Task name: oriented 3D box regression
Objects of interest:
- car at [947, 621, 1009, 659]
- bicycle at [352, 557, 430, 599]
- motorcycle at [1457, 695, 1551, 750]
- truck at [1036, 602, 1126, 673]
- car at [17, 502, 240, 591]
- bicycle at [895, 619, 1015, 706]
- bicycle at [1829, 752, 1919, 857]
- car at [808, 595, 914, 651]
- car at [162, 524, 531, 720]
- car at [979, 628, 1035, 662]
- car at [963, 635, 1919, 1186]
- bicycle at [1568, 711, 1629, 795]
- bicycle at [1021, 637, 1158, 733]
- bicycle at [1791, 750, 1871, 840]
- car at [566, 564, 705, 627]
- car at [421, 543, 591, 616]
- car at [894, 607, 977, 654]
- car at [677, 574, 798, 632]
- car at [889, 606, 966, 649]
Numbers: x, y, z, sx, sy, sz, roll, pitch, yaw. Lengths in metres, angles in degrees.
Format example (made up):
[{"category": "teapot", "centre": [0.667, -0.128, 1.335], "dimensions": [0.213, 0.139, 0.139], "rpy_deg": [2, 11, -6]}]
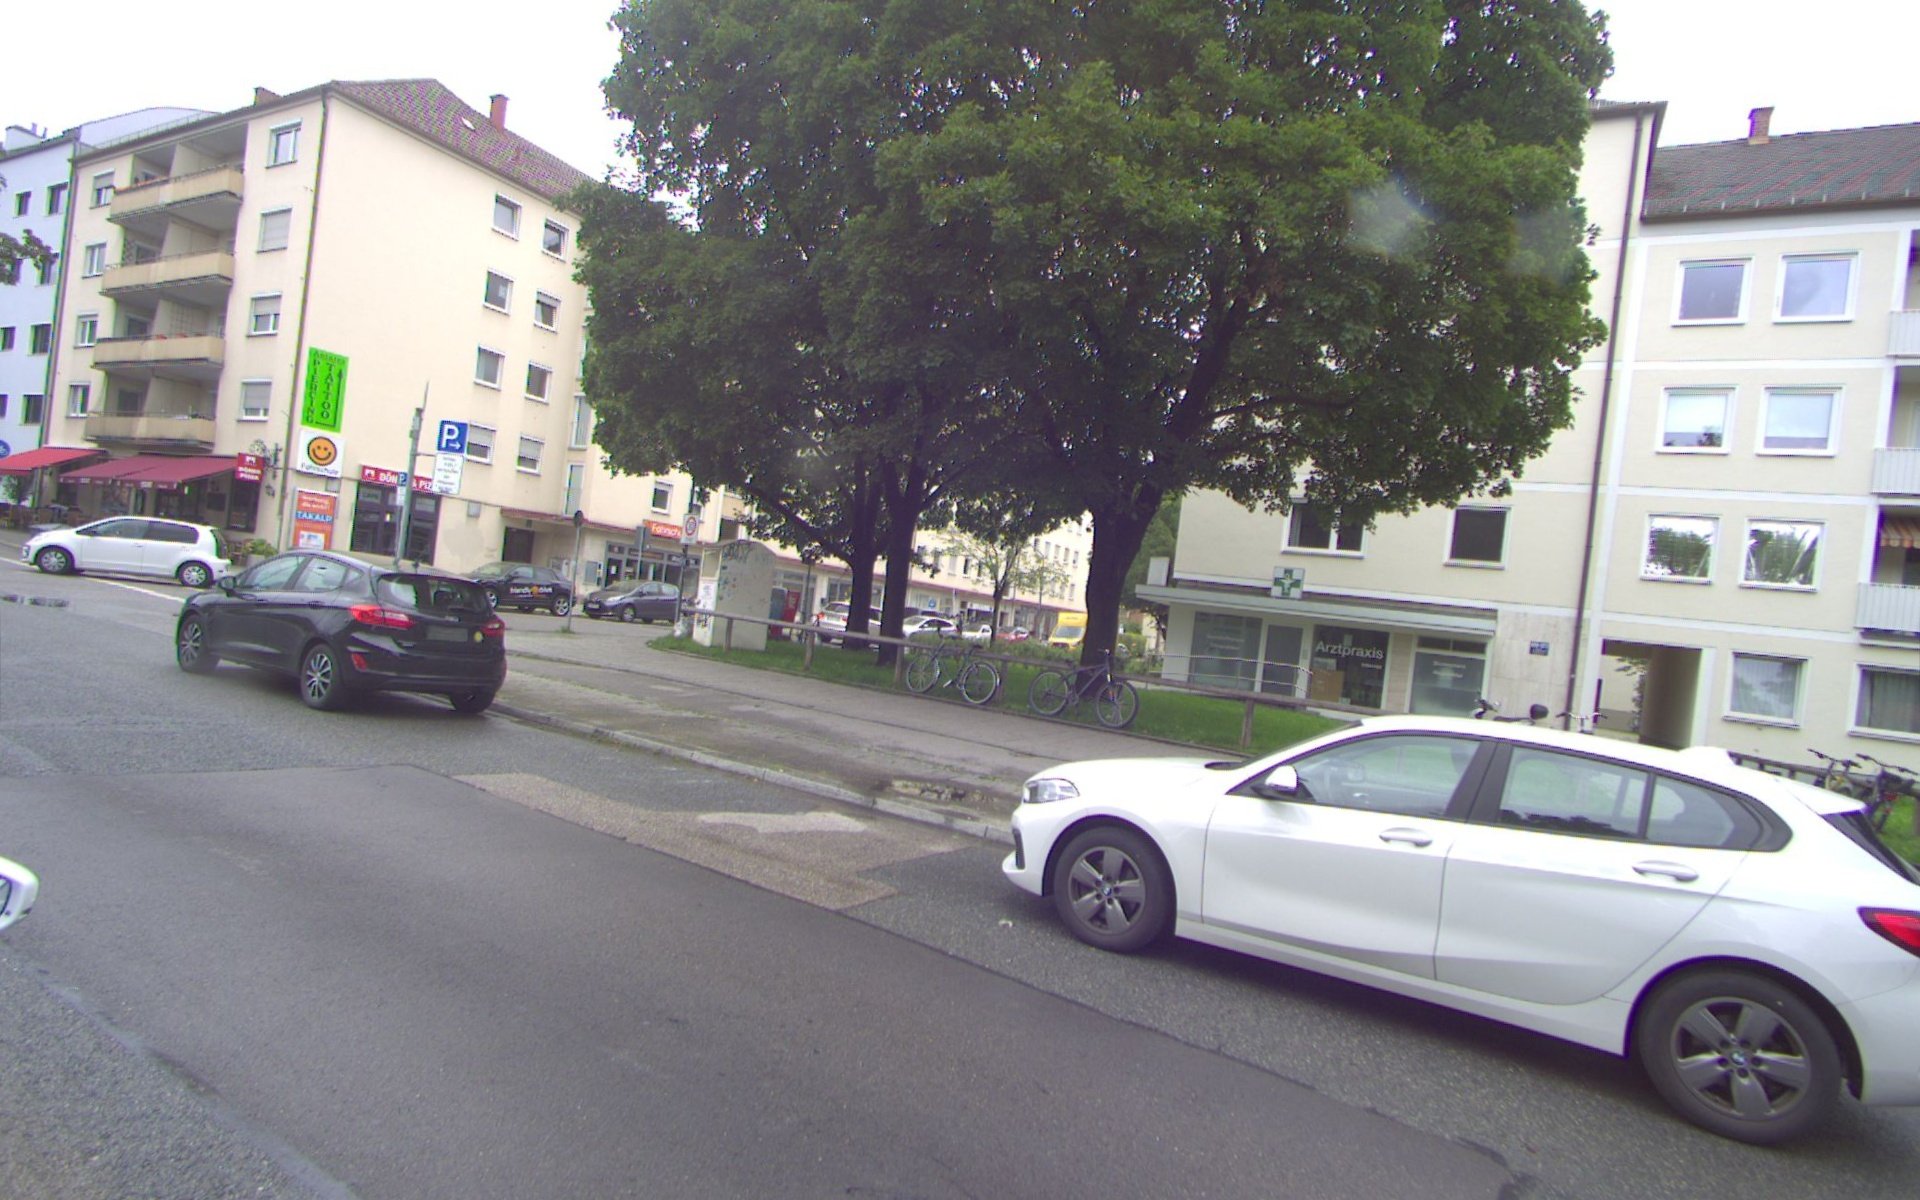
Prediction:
[{"category": "car", "centre": [1.093, 2.345, 58.499], "dimensions": [1.839, 1.679, 4.089], "rpy_deg": [7, -2, 27]}, {"category": "bicycle", "centre": [-16.529, -0.620, 29.283], "dimensions": [0.548, 0.968, 1.850], "rpy_deg": [7, -2, 33]}, {"category": "motorcycle", "centre": [13.147, 2.944, 24.323], "dimensions": [1.875, 1.035, 0.605], "rpy_deg": [6, -1, 32]}, {"category": "truck", "centre": [6.818, 2.161, 55.617], "dimensions": [2.318, 3.282, 7.426], "rpy_deg": [7, -2, 26]}, {"category": "car", "centre": [-18.538, -1.176, 22.666], "dimensions": [3.524, 1.434, 1.856], "rpy_deg": [8, 0, -32]}, {"category": "bicycle", "centre": [-0.090, 0.964, 15.665], "dimensions": [1.823, 1.118, 0.390], "rpy_deg": [7, -1, 32]}, {"category": "bicycle", "centre": [10.527, 2.305, 11.568], "dimensions": [0.425, 0.985, 1.881], "rpy_deg": [7, -2, 32]}, {"category": "car", "centre": [-3.799, 0.944, 39.521], "dimensions": [1.839, 1.680, 4.404], "rpy_deg": [8, -1, 28]}, {"category": "car", "centre": [-6.358, 0.201, 10.359], "dimensions": [3.613, 1.482, 1.621], "rpy_deg": [7, -3, 31]}, {"category": "car", "centre": [2.964, 2.811, 62.338], "dimensions": [1.839, 1.679, 4.089], "rpy_deg": [7, -2, 27]}, {"category": "car", "centre": [2.268, 1.241, 5.271], "dimensions": [4.067, 1.481, 1.687], "rpy_deg": [7, -3, 30]}, {"category": "bicycle", "centre": [8.344, 1.972, 13.173], "dimensions": [0.548, 0.950, 1.881], "rpy_deg": [7, -2, 32]}, {"category": "bicycle", "centre": [1.844, 1.202, 14.502], "dimensions": [1.852, 1.116, 0.382], "rpy_deg": [7, -1, 32]}, {"category": "bicycle", "centre": [11.499, 2.541, 13.317], "dimensions": [0.425, 0.985, 1.881], "rpy_deg": [7, -2, 32]}, {"category": "car", "centre": [-11.096, -0.109, 34.732], "dimensions": [1.839, 1.681, 4.401], "rpy_deg": [7, 0, 28]}, {"category": "car", "centre": [-13.613, -0.556, 30.469], "dimensions": [1.839, 1.681, 4.403], "rpy_deg": [7, 0, 26]}, {"category": "car", "centre": [-1.135, 1.505, 48.818], "dimensions": [1.839, 1.679, 4.740], "rpy_deg": [7, -3, 27]}, {"category": "car", "centre": [-8.679, 0.178, 39.682], "dimensions": [1.840, 1.795, 4.743], "rpy_deg": [7, 0, 29]}, {"category": "car", "centre": [-1.648, 1.497, 53.092], "dimensions": [1.839, 1.679, 4.751], "rpy_deg": [7, -3, 27]}]
